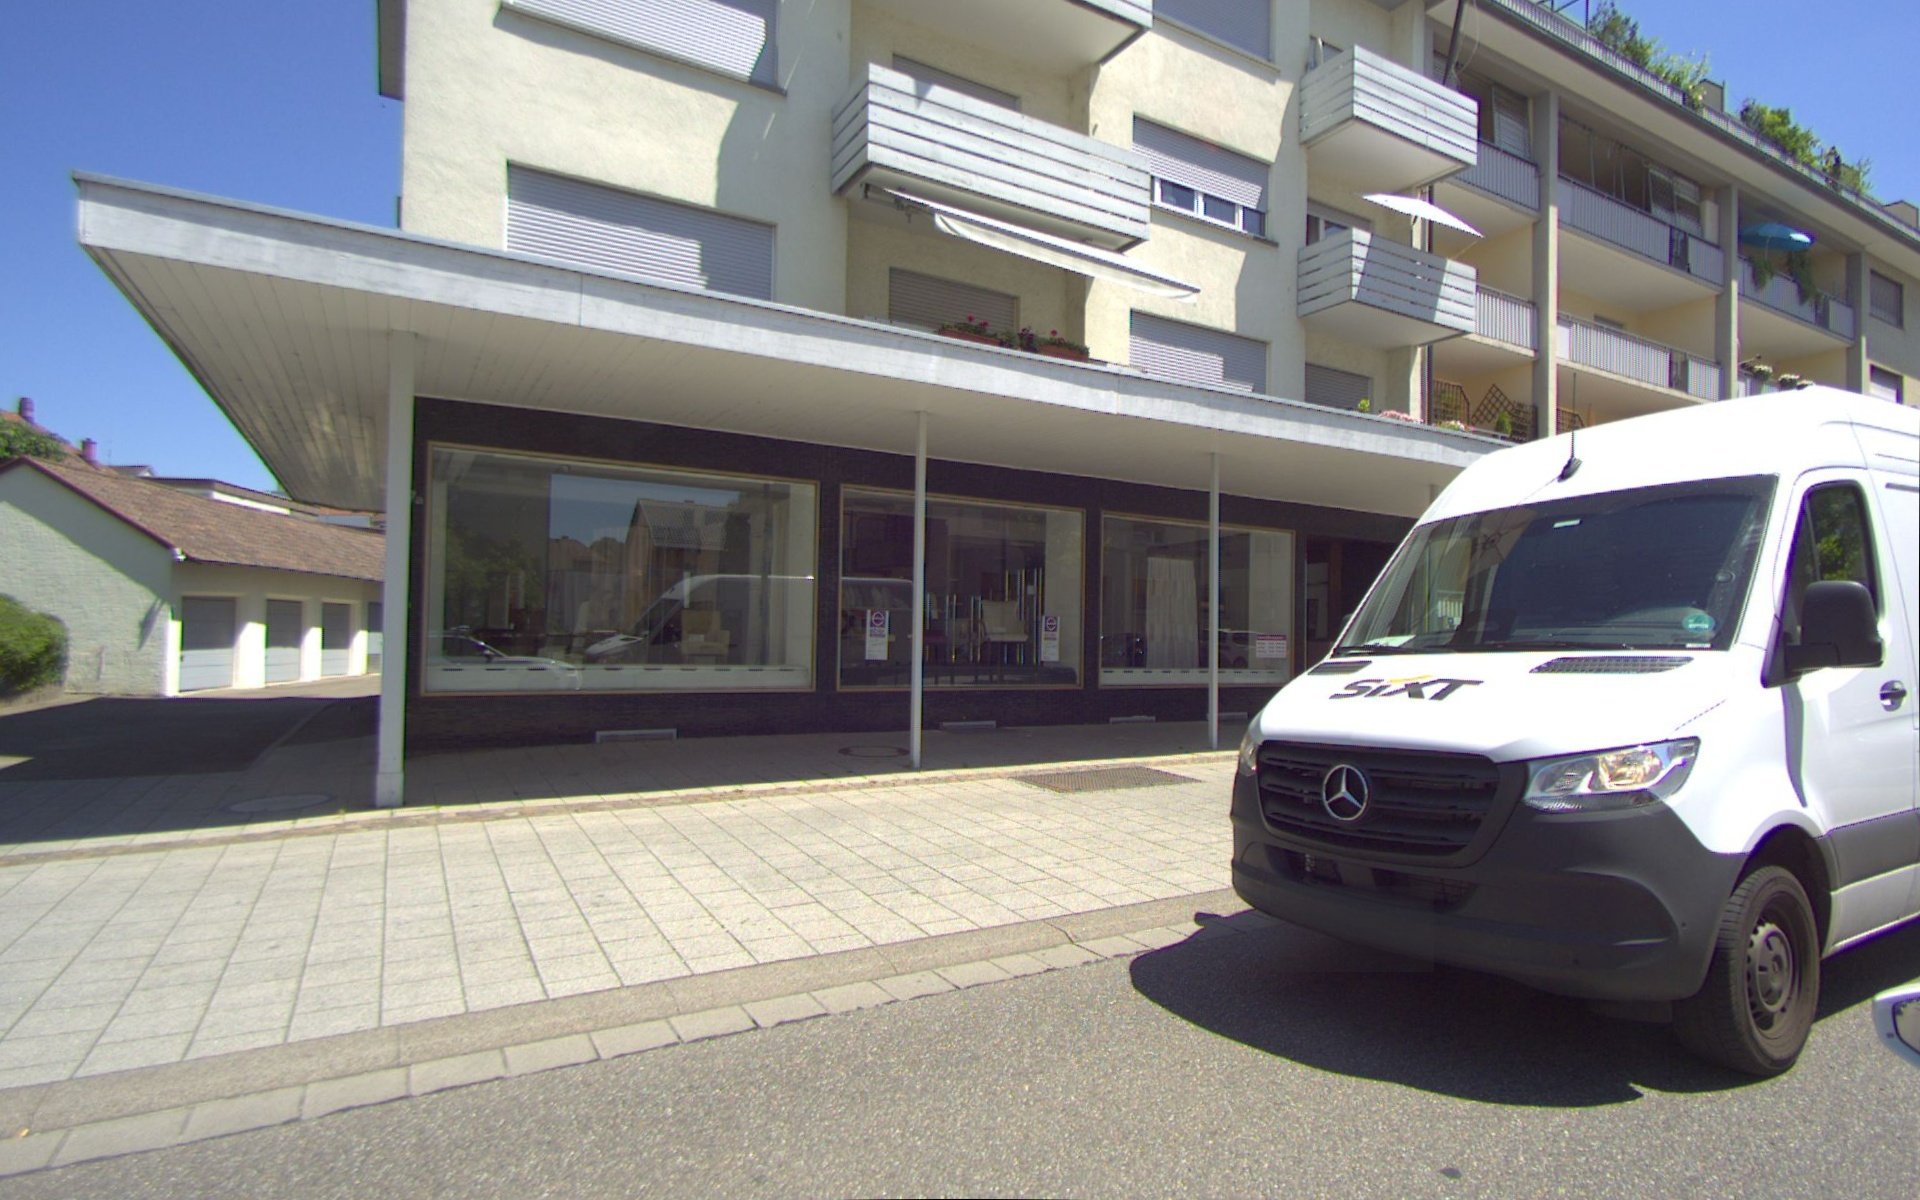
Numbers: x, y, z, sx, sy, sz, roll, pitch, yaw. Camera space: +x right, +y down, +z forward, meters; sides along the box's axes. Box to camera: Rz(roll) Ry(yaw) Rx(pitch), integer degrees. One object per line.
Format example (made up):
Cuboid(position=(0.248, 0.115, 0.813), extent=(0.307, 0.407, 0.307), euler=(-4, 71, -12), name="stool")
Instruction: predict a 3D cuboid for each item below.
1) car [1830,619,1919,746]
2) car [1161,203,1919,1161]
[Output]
Cuboid(position=(15.031, 1.211, 15.111), extent=(4.054, 1.725, 1.744), euler=(2, 0, -31), name="car")
Cuboid(position=(4.449, 0.338, 5.486), extent=(7.025, 2.664, 2.027), euler=(2, -4, -31), name="car")
